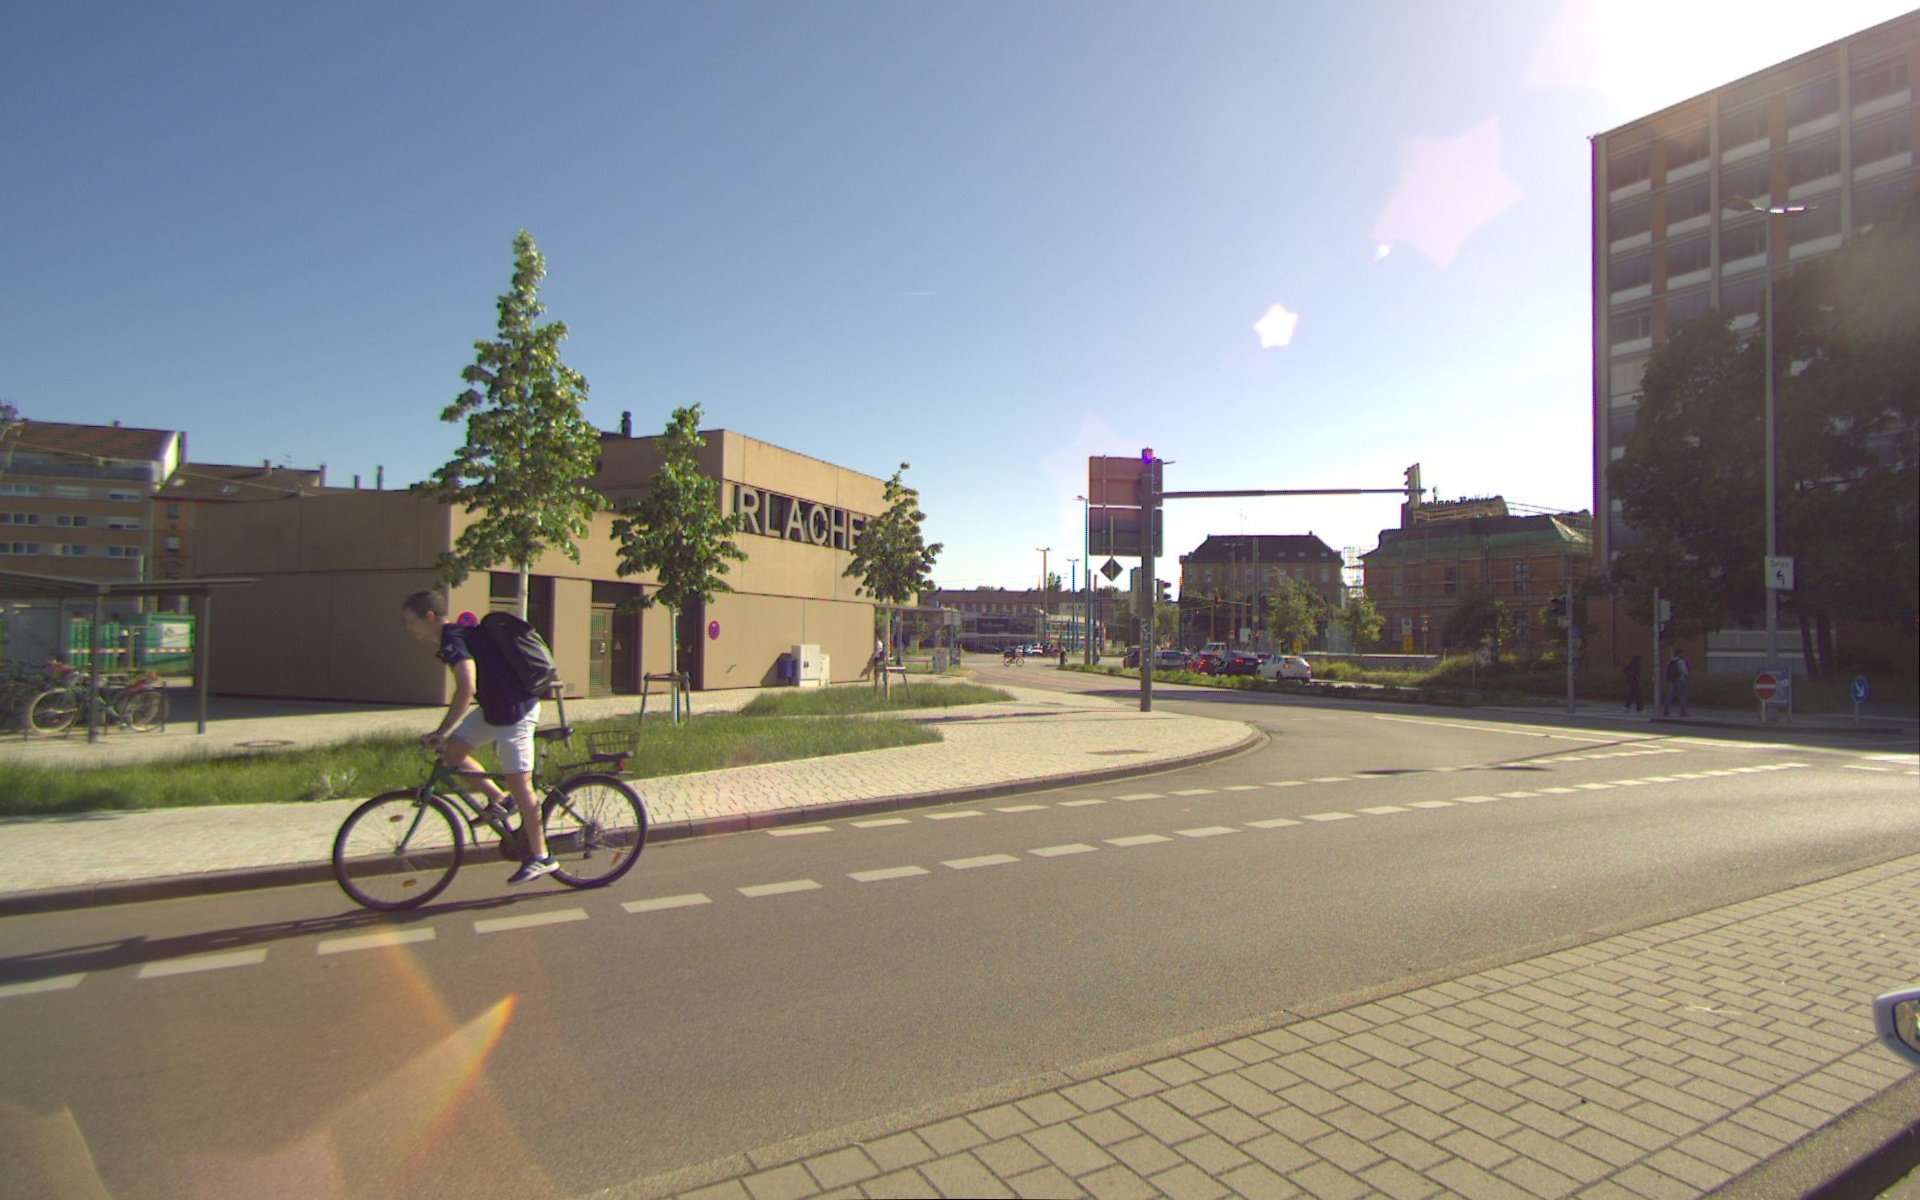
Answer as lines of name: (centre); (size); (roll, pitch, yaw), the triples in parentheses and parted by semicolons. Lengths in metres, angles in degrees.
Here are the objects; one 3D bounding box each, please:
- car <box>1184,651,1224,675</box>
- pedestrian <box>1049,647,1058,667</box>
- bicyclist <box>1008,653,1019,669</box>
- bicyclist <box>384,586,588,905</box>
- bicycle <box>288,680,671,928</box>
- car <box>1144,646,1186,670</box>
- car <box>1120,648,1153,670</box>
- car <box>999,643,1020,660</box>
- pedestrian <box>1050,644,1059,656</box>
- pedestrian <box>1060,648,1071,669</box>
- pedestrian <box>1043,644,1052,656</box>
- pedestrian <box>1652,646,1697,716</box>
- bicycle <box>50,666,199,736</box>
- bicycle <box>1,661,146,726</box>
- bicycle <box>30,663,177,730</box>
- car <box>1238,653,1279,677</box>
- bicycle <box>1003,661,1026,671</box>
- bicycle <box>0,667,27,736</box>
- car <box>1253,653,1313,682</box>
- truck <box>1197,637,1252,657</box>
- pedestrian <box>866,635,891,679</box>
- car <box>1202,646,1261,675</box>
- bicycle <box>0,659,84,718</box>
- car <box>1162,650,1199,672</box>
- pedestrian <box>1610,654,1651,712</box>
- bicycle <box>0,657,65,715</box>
car: (16.280, 4.184, 67.216); (1.645, 1.461, 3.722); (3, -3, -2)
pedestrian: (7.841, 4.785, 84.461); (0.643, 1.632, 0.676); (2, 0, -4)
bicyclist: (4.373, 4.981, 81.640); (0.682, 1.243, 0.641); (2, 0, -17)
bicyclist: (-2.714, 0.777, 5.746); (0.966, 1.642, 0.716); (2, -3, -31)
bicycle: (-2.684, 1.067, 5.750); (1.849, 1.180, 0.742); (2, -4, -31)
car: (13.494, 3.796, 66.295); (1.697, 1.461, 3.798); (2, -3, -4)
car: (12.818, 4.303, 73.070); (1.696, 1.461, 3.912); (3, -3, 2)
car: (6.674, 6.895, 134.783); (1.960, 2.040, 4.002); (2, 0, 16)
pedestrian: (12.070, 6.378, 127.953); (0.856, 1.427, 0.688); (2, 0, -32)
pedestrian: (8.400, 4.678, 79.769); (0.566, 1.632, 0.564); (2, 0, -30)
pedestrian: (11.152, 6.350, 127.373); (0.856, 1.427, 0.688); (2, 0, -32)
pedestrian: (19.590, 2.220, 27.546); (1.086, 1.856, 0.748); (4, -3, -39)
bicycle: (-13.531, 1.609, 16.336); (0.557, 1.051, 1.788); (-1, -3, 22)
bicycle: (-15.337, 1.595, 17.435); (0.558, 1.051, 1.785); (-2, -4, 29)
bicycle: (-14.323, 1.595, 16.858); (0.557, 1.051, 1.788); (-1, -3, 22)
car: (21.791, 4.723, 73.497); (1.846, 1.638, 3.626); (2, -3, 0)
bicycle: (4.441, 5.361, 81.670); (1.709, 0.754, 0.641); (2, 0, -17)
bicycle: (-15.350, 1.550, 15.140); (0.557, 1.051, 1.788); (-1, -3, 22)
car: (17.316, 3.603, 54.037); (1.665, 1.454, 3.733); (1, -3, -8)
truck: (32.770, 5.797, 124.358); (6.789, 2.343, 2.209); (2, -3, -24)
pedestrian: (-3.304, 2.304, 40.608); (0.778, 1.745, 0.594); (-2, -5, 37)
car: (16.459, 3.647, 61.106); (1.953, 1.645, 4.374); (1, -3, -7)
bicycle: (-17.240, 1.606, 18.331); (0.557, 1.051, 1.788); (-1, -3, 22)
car: (16.164, 4.486, 73.661); (1.697, 1.461, 3.799); (3, -3, -2)
pedestrian: (19.414, 2.389, 29.082); (0.671, 1.633, 0.717); (2, -2, -16)
bicycle: (-17.794, 1.589, 18.566); (0.557, 1.051, 1.788); (-1, -3, 22)
